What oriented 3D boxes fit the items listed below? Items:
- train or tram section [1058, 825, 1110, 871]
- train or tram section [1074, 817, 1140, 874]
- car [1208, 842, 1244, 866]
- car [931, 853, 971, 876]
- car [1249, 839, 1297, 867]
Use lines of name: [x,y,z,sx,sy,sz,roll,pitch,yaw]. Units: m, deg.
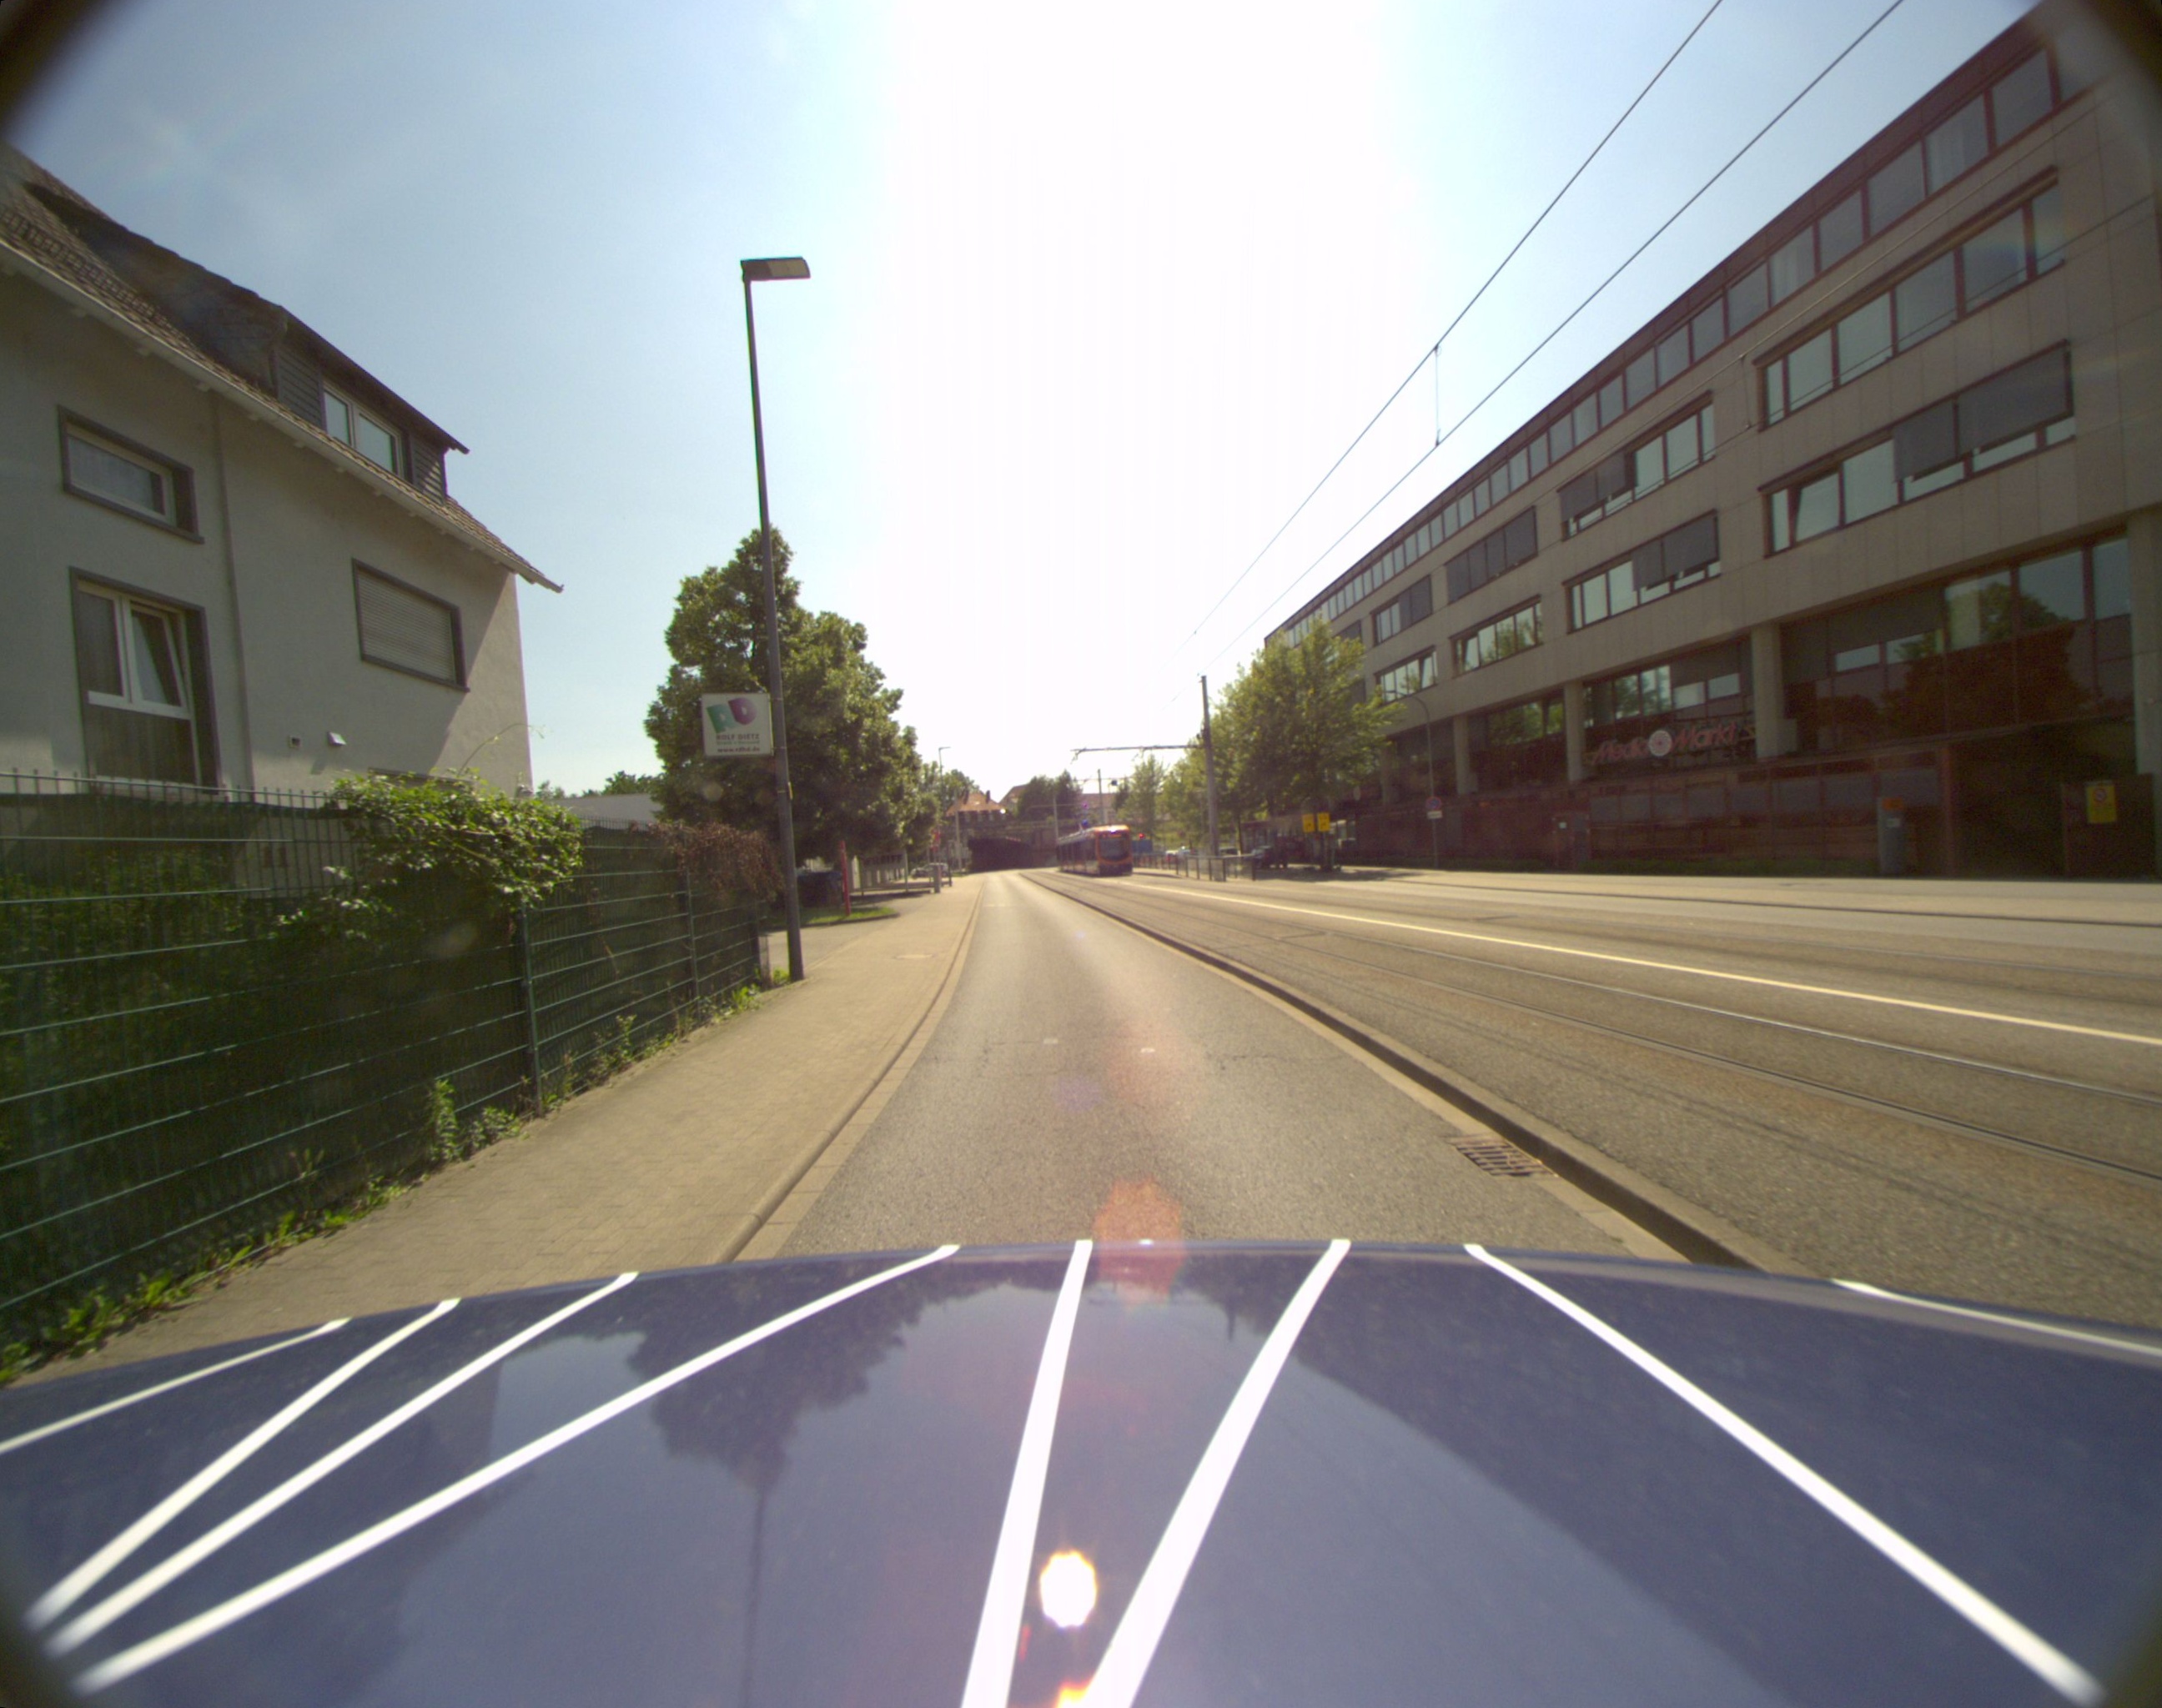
train or tram section: [0.042,-0.431,66.369,2.682,3.464,13.381,-3,0,-7]
train or tram section: [1.570,-0.487,53.839,2.682,3.464,12.320,-3,0,-7]
car: [10.502,0.013,55.326,1.871,1.608,4.000,-3,0,1]
car: [-13.591,1.093,79.535,4.000,2.089,1.998,-3,0,-10]
car: [12.064,-0.058,47.944,1.998,1.613,4.000,-3,0,1]
